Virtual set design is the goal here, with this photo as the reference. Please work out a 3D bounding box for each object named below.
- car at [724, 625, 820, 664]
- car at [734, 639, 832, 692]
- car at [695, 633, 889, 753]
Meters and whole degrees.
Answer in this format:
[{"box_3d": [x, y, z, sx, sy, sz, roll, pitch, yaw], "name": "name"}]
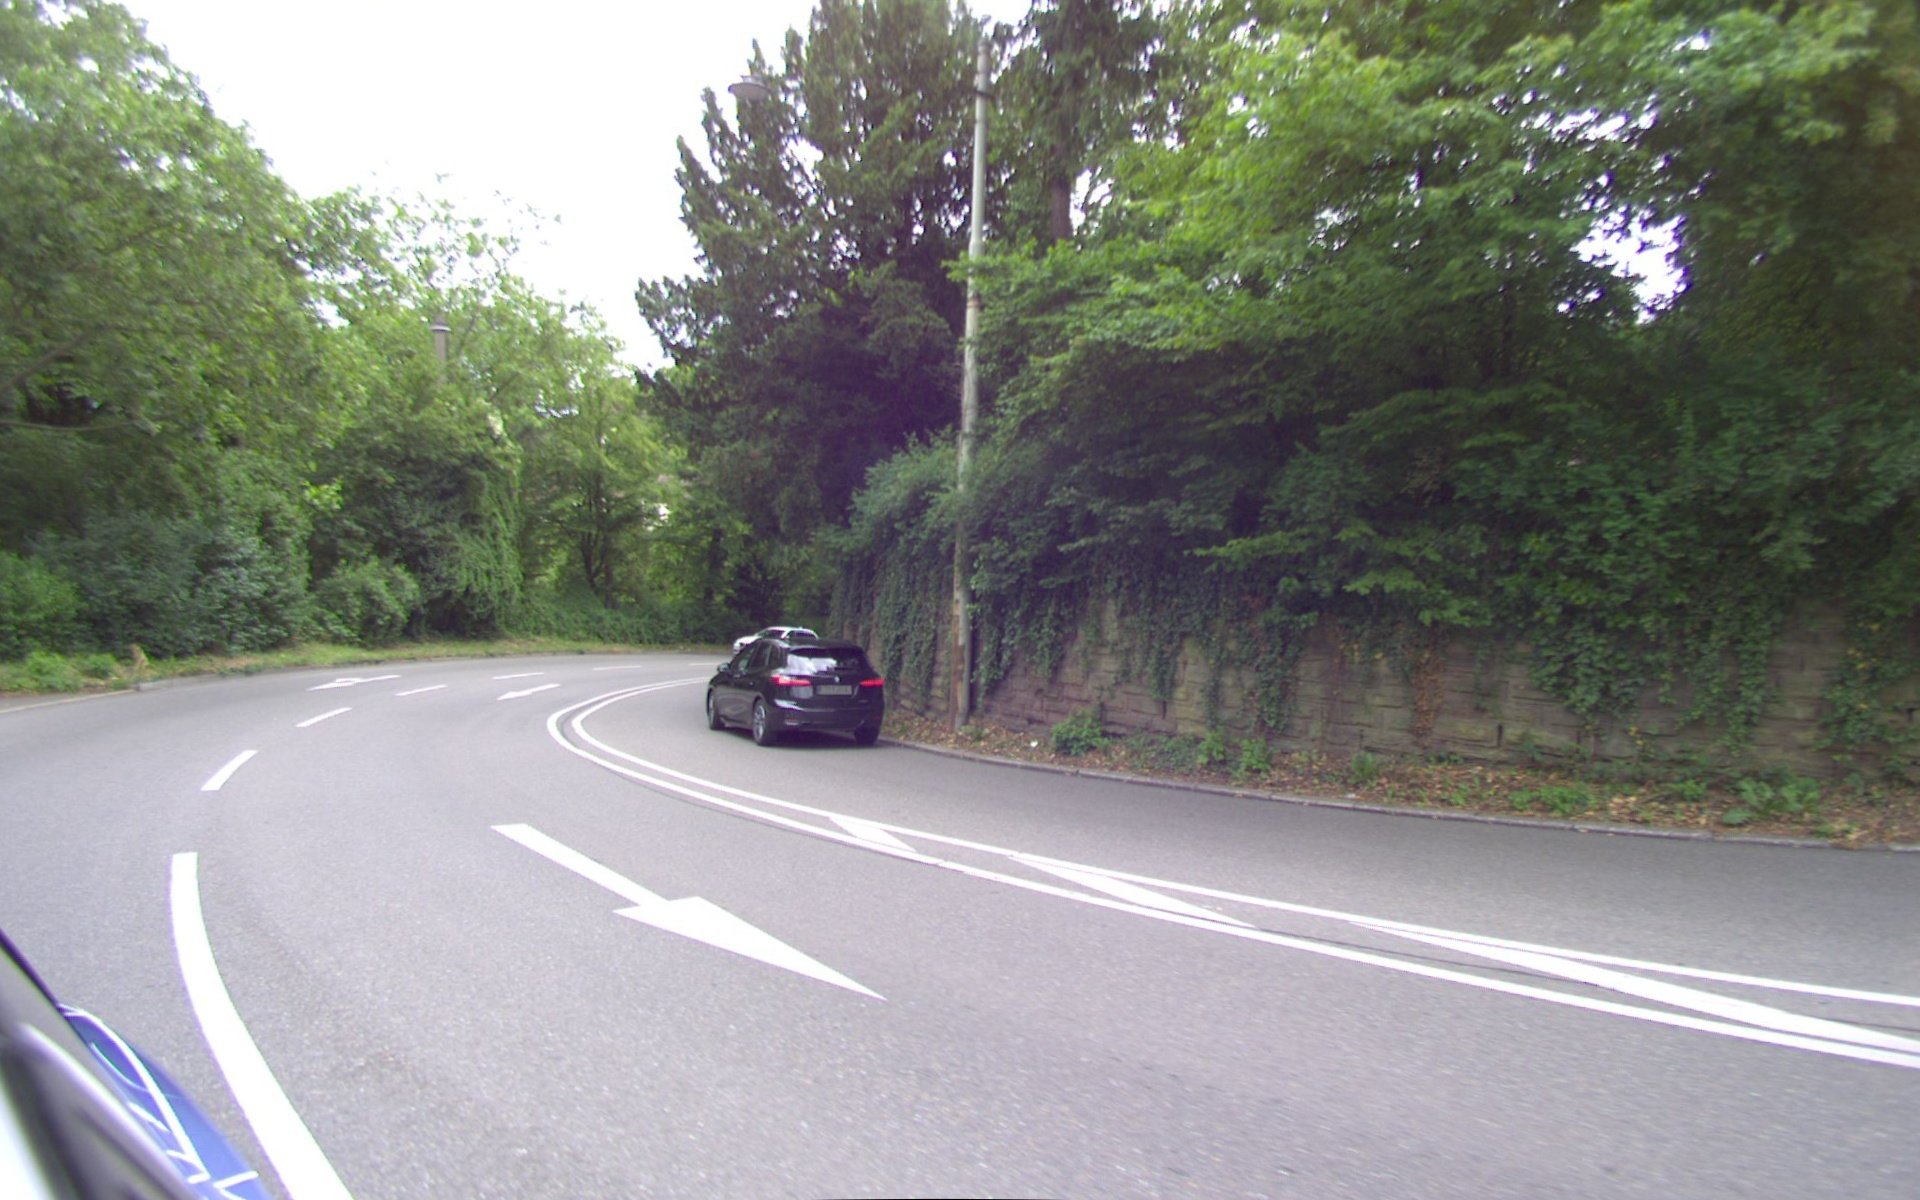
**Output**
[{"box_3d": [-8.489, 2.040, 46.137, 1.909, 1.563, 4.484, 4, -1, 27], "name": "car"}, {"box_3d": [-5.435, 2.031, 31.602, 1.787, 1.454, 3.989, 2, -3, 9], "name": "car"}, {"box_3d": [-2.709, 1.349, 15.586, 1.581, 1.586, 4.075, 3, -4, -30], "name": "car"}]
